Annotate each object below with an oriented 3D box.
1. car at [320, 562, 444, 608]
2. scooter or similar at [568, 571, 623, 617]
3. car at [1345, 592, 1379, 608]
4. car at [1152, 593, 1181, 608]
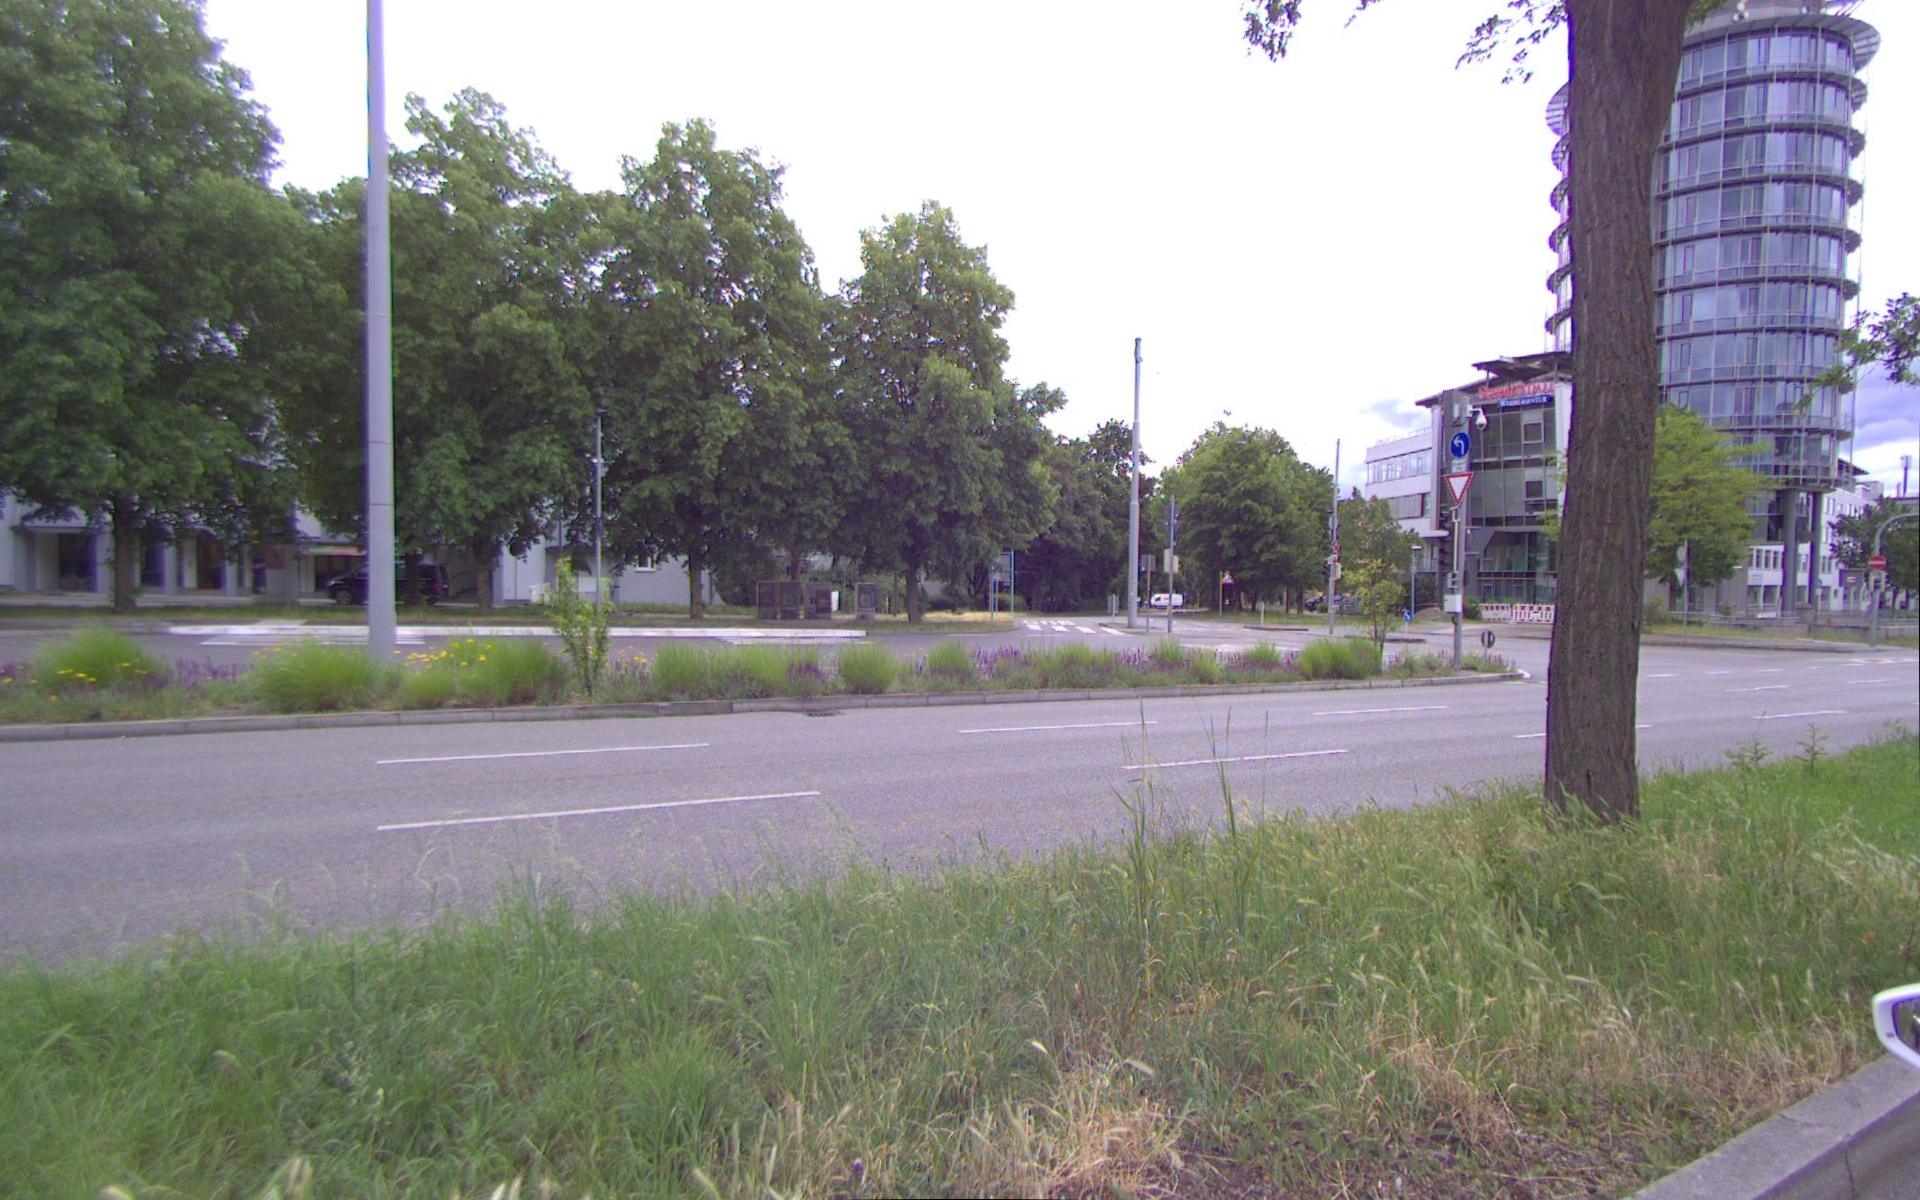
[{"bbox_3d":[-25.116,-0.654,43.839,4.345,1.872,1.781,1,1,-16],"label":"car"},{"bbox_3d":[-13.679,-0.234,37.721,1.835,1.686,0.645,1,1,-43],"label":"scooter or similar"},{"bbox_3d":[23.268,-0.002,58.199,1.684,0.888,0.776,1,1,7],"label":"car"},{"bbox_3d":[35.779,0.073,174.356,4.475,2.370,1.994,2,0,-15],"label":"car"}]
